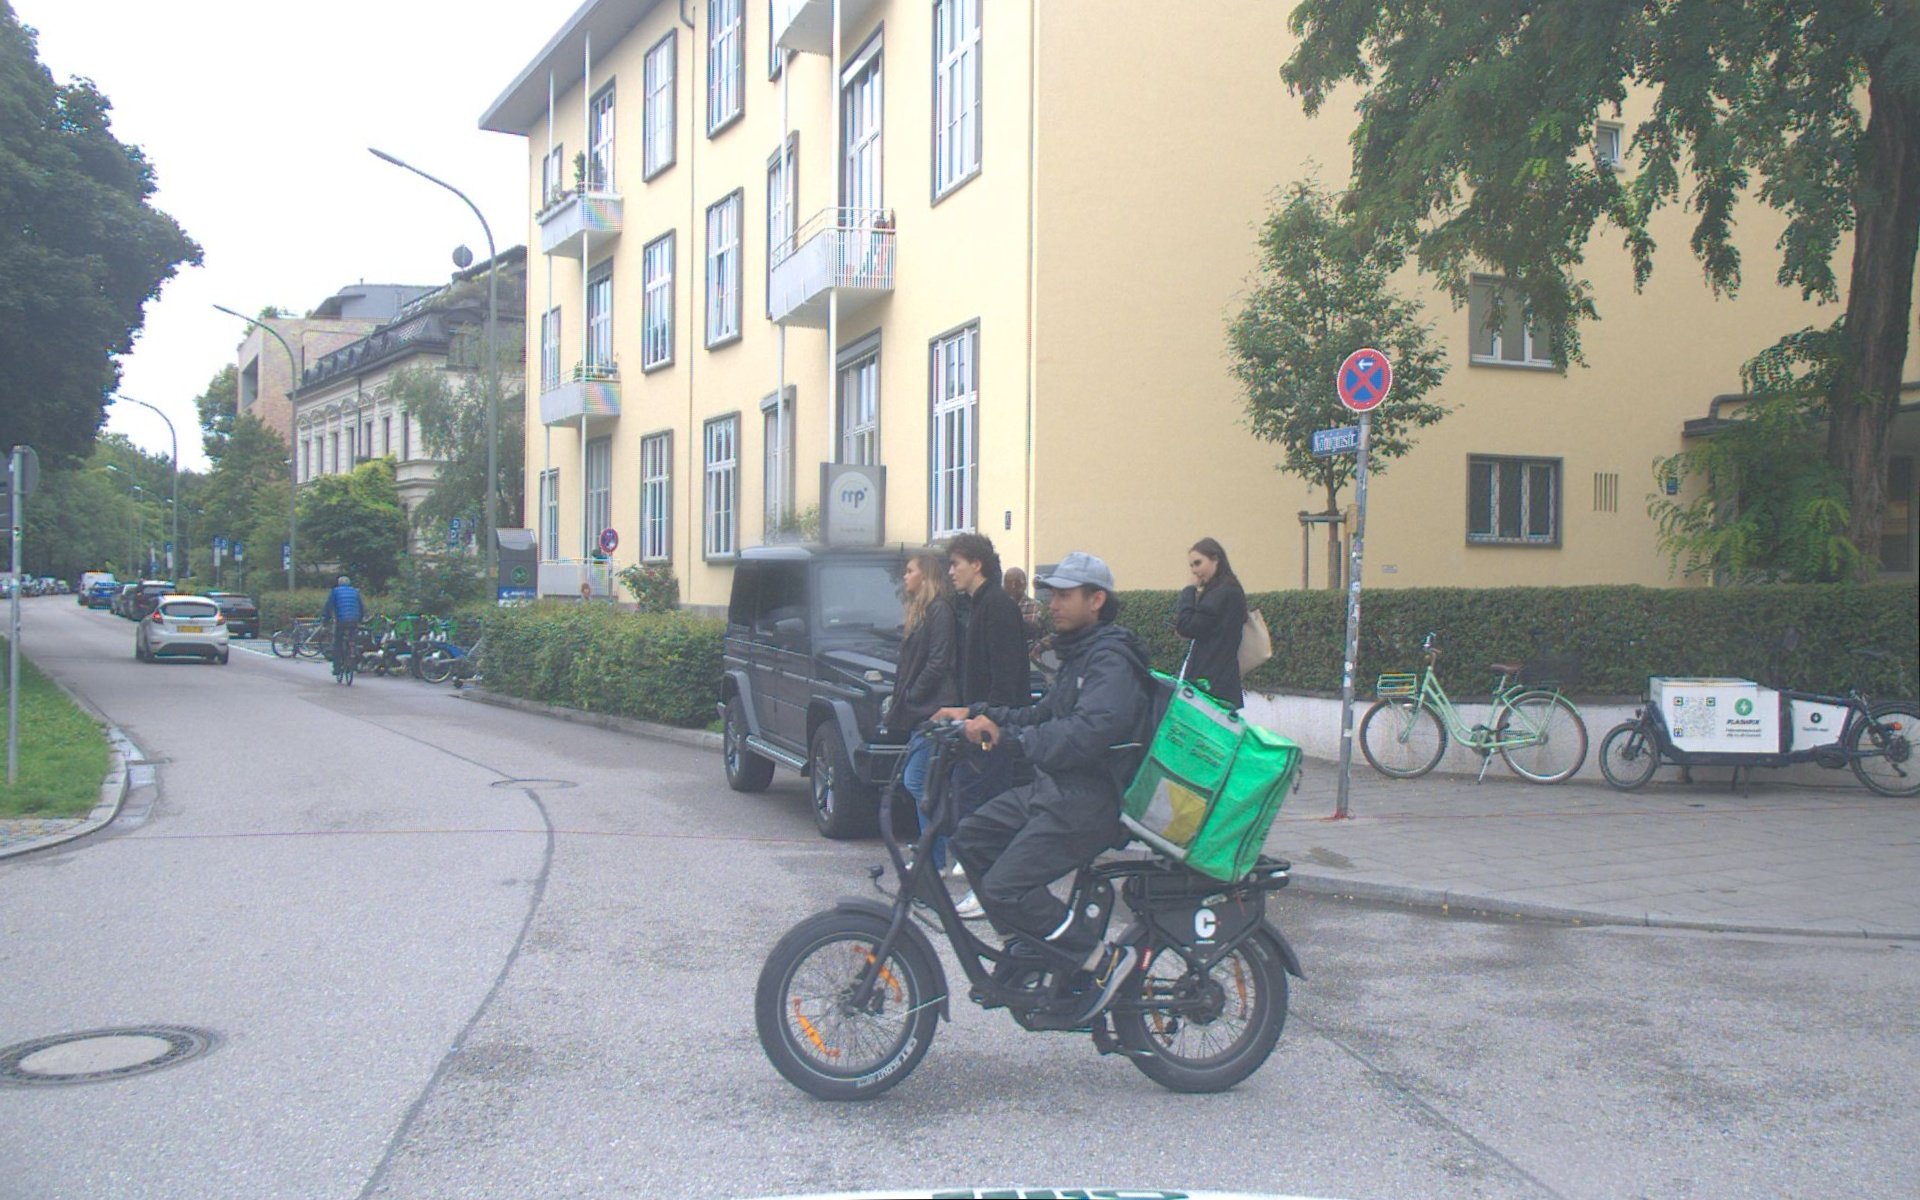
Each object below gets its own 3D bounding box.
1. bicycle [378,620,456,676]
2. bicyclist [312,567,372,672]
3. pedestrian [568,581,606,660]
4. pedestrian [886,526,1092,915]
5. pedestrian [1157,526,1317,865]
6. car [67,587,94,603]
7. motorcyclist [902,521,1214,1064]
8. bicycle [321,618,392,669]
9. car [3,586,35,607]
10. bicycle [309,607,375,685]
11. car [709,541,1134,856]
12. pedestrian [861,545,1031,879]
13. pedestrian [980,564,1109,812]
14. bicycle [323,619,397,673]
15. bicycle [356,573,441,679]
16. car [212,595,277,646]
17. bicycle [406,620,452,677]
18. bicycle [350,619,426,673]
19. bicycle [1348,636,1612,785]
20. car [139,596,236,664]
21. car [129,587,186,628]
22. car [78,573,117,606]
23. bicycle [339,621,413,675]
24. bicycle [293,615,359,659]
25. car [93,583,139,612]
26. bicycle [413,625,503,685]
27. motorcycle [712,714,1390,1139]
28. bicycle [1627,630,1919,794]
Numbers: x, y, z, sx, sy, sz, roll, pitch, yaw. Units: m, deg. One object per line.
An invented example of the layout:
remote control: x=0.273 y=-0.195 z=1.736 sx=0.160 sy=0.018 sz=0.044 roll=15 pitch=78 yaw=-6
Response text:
bicycle: x=-10.746 y=0.942 z=32.774 sx=0.360 sy=1.032 sz=1.531 roll=0 pitch=1 yaw=37
bicyclist: x=-10.829 y=0.328 z=28.956 sx=0.902 sy=1.795 sz=1.205 roll=0 pitch=0 yaw=-25
pedestrian: x=-8.267 y=0.443 z=36.628 sx=0.625 sy=1.713 sz=0.690 roll=-1 pitch=0 yaw=-32
pedestrian: x=0.160 y=0.569 z=8.200 sx=0.969 sy=1.841 sz=0.660 roll=0 pitch=0 yaw=5
pedestrian: x=1.597 y=0.537 z=9.655 sx=0.832 sy=1.890 sz=0.767 roll=-1 pitch=0 yaw=5
car: x=-91.043 y=-0.563 z=171.241 sx=1.966 sy=1.628 sz=4.436 roll=0 pitch=0 yaw=-23
motorcyclist: x=0.267 y=0.539 z=5.041 sx=0.878 sy=1.527 sz=0.713 roll=0 pitch=0 yaw=-3
bicycle: x=-13.069 y=0.934 z=35.847 sx=0.400 sy=1.032 sz=1.535 roll=-1 pitch=1 yaw=29
car: x=-74.316 y=-0.286 z=130.668 sx=1.970 sy=1.628 sz=4.428 roll=0 pitch=0 yaw=-27
bicycle: x=-10.828 y=0.771 z=28.931 sx=0.909 sy=1.274 sz=2.303 roll=0 pitch=0 yaw=-25
car: x=-0.527 y=0.582 z=12.577 sx=1.846 sy=1.920 sz=4.590 roll=0 pitch=0 yaw=-21
pedestrian: x=-0.063 y=0.594 z=9.252 sx=0.809 sy=1.776 sz=0.741 roll=0 pitch=0 yaw=12
pedestrian: x=0.617 y=0.631 z=12.479 sx=0.832 sy=1.788 sz=0.952 roll=0 pitch=0 yaw=-6
bicycle: x=-12.377 y=0.940 z=34.155 sx=0.400 sy=1.032 sz=1.535 roll=-1 pitch=1 yaw=29
bicycle: x=-11.185 y=0.489 z=32.994 sx=0.447 sy=2.049 sz=1.672 roll=0 pitch=1 yaw=33
car: x=-23.404 y=0.642 z=54.049 sx=1.629 sy=1.585 sz=3.524 roll=0 pitch=0 yaw=-29
bicycle: x=-10.192 y=0.924 z=31.771 sx=0.358 sy=1.032 sz=1.538 roll=-1 pitch=1 yaw=1
bicycle: x=-11.580 y=0.918 z=33.516 sx=0.401 sy=1.032 sz=1.533 roll=-1 pitch=1 yaw=33
bicycle: x=4.088 y=0.858 z=13.094 sx=1.911 sy=1.104 sz=0.527 roll=-2 pitch=-2 yaw=36
car: x=-17.346 y=0.635 z=37.065 sx=1.728 sy=1.431 sz=3.691 roll=0 pitch=0 yaw=-29
car: x=-34.221 y=0.291 z=70.450 sx=1.776 sy=1.709 sz=3.955 roll=0 pitch=0 yaw=-32
car: x=-52.715 y=-0.632 z=101.048 sx=2.043 sy=2.000 sz=4.930 roll=0 pitch=0 yaw=-28
bicycle: x=-11.954 y=0.965 z=33.902 sx=0.400 sy=1.032 sz=1.535 roll=-1 pitch=1 yaw=29
bicycle: x=-15.864 y=0.918 z=41.402 sx=0.402 sy=1.032 sz=1.528 roll=0 pitch=1 yaw=42
car: x=-47.619 y=-0.141 z=93.296 sx=1.975 sy=1.628 sz=4.207 roll=0 pitch=0 yaw=-32
bicycle: x=-9.146 y=0.996 z=30.158 sx=1.519 sy=1.032 sz=0.363 roll=-1 pitch=1 yaw=-34
motorcycle: x=0.250 y=0.939 z=5.036 sx=1.932 sy=1.117 sz=0.718 roll=0 pitch=0 yaw=-4
bicycle: x=6.074 y=0.801 z=12.101 sx=2.121 sy=1.135 sz=0.641 roll=0 pitch=0 yaw=9
